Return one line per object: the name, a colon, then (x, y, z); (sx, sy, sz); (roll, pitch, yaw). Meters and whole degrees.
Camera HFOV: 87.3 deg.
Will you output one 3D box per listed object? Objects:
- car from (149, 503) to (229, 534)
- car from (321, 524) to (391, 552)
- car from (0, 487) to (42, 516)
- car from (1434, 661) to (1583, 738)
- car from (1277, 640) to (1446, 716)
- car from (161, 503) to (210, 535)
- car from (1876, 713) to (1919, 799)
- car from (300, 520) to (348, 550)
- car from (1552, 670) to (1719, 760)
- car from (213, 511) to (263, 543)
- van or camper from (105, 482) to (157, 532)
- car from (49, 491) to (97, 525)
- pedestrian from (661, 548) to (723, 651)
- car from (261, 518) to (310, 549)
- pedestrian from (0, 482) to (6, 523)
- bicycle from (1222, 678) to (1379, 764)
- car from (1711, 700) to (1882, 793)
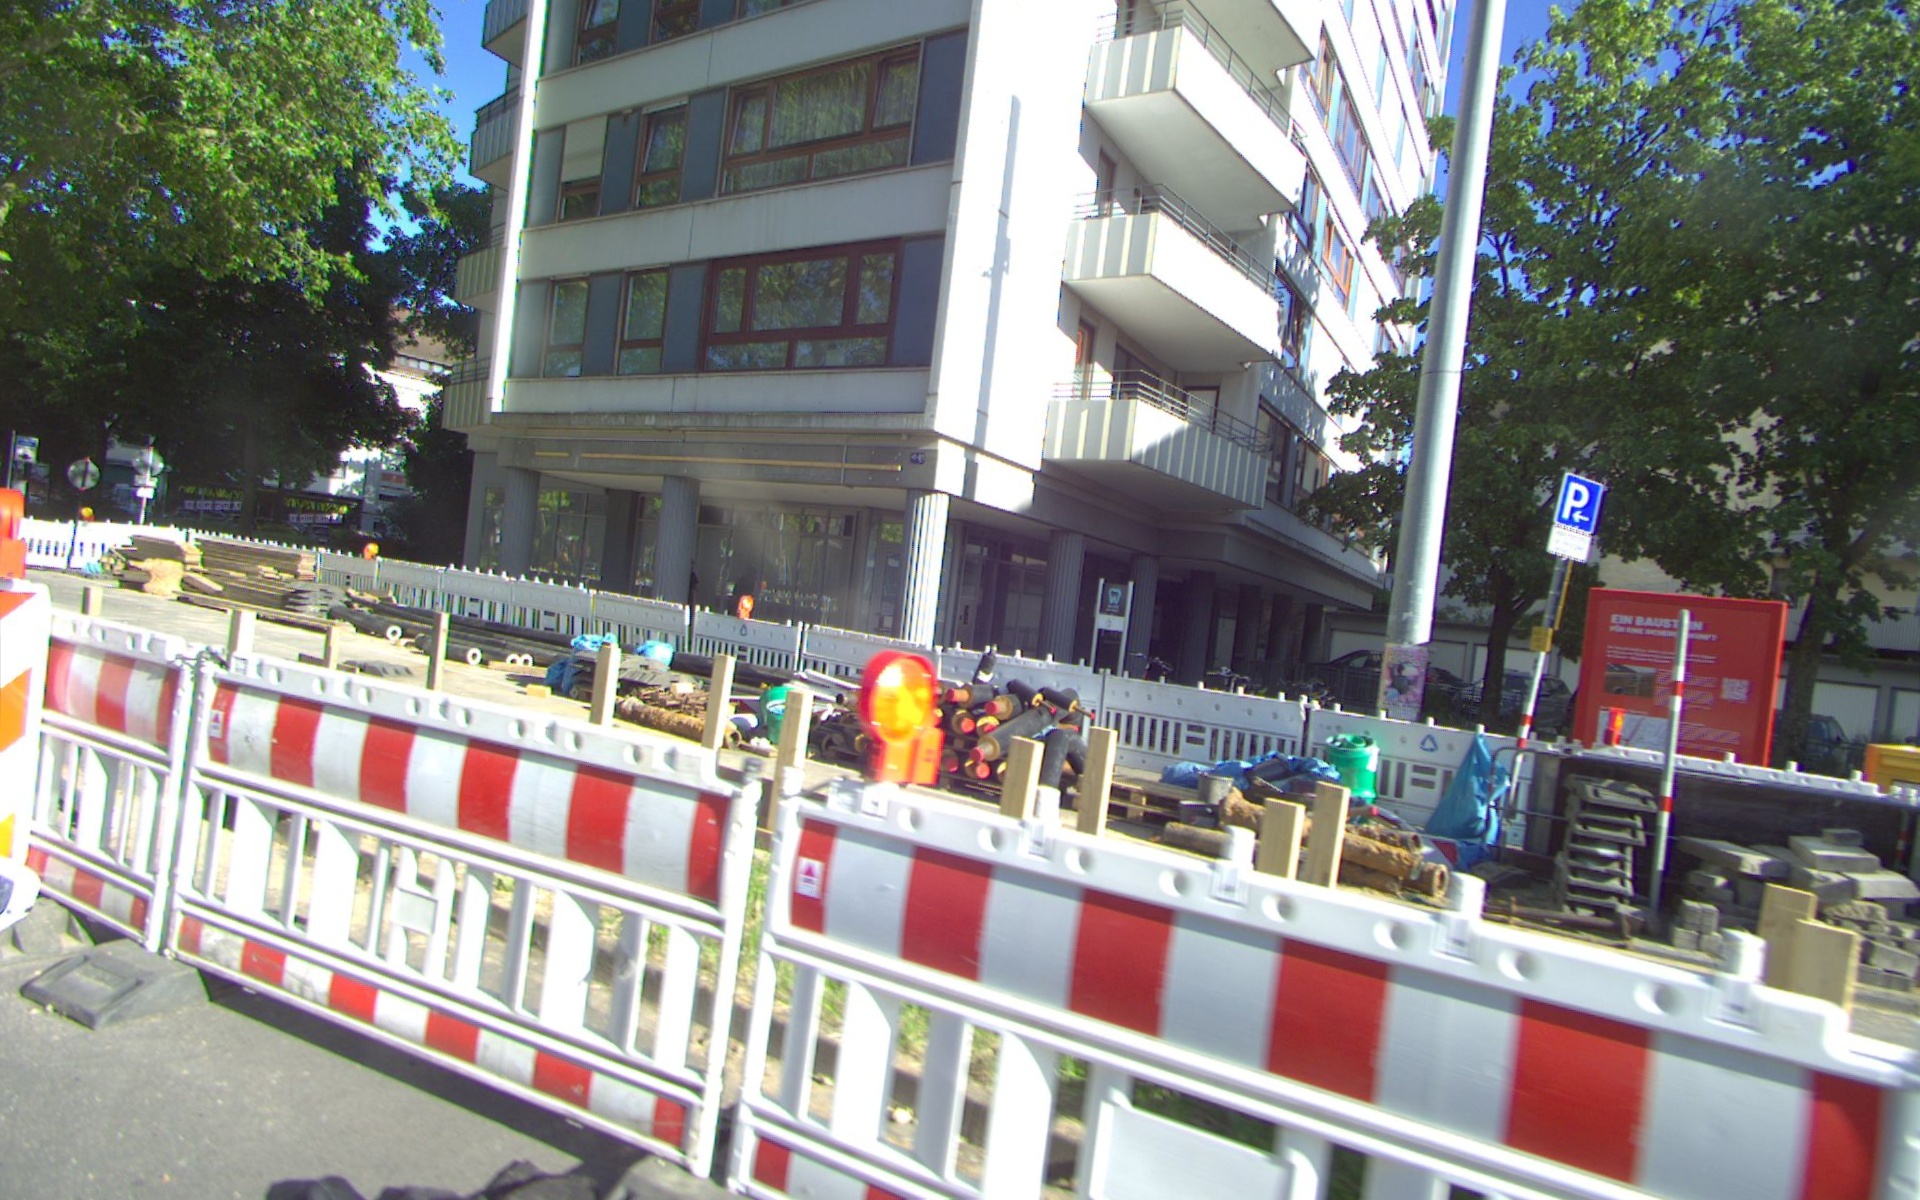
car: (-55.355, -5.821, 72.292); (4.366, 1.555, 1.976); (7, 0, -42)
car: (-47.807, -4.883, 79.649); (4.366, 1.555, 1.976); (7, 0, -42)
car: (-62.937, -6.605, 65.474); (4.571, 1.600, 1.976); (7, 0, -43)
car: (13.904, 2.534, 25.374); (4.466, 1.542, 1.818); (7, 0, -42)
car: (12.294, 2.341, 30.867); (4.420, 1.657, 2.151); (7, 0, 30)
car: (-49.136, -5.148, 63.776); (1.987, 1.690, 4.687); (7, 0, -43)
car: (19.565, 3.144, 19.492); (4.343, 1.504, 1.969); (7, 0, -39)
car: (-43.883, -4.495, 69.360); (1.987, 1.648, 4.336); (7, 0, -43)
car: (15.613, 2.658, 23.189); (4.204, 1.624, 2.130); (7, 0, -42)
car: (-47.404, -4.785, 66.015); (1.987, 1.690, 4.687); (7, 0, -43)
van or camper: (-51.186, -5.732, 62.068); (2.139, 2.669, 5.521); (6, 0, -42)
car: (-53.132, -5.531, 60.244); (1.987, 1.648, 4.336); (7, 0, -43)
pedestrian: (-5.049, -0.008, 18.973); (0.654, 1.838, 0.690); (7, 1, 32)
car: (-45.494, -4.500, 67.847); (1.987, 1.648, 4.336); (7, 0, -43)
pedestrian: (-39.093, -3.995, 40.431); (1.018, 1.637, 0.732); (7, 1, 32)
bicycle: (4.633, 1.651, 13.639); (2.019, 0.954, 1.006); (8, 0, -39)
car: (17.494, 3.008, 20.977); (4.250, 1.435, 2.068); (7, 0, -42)
